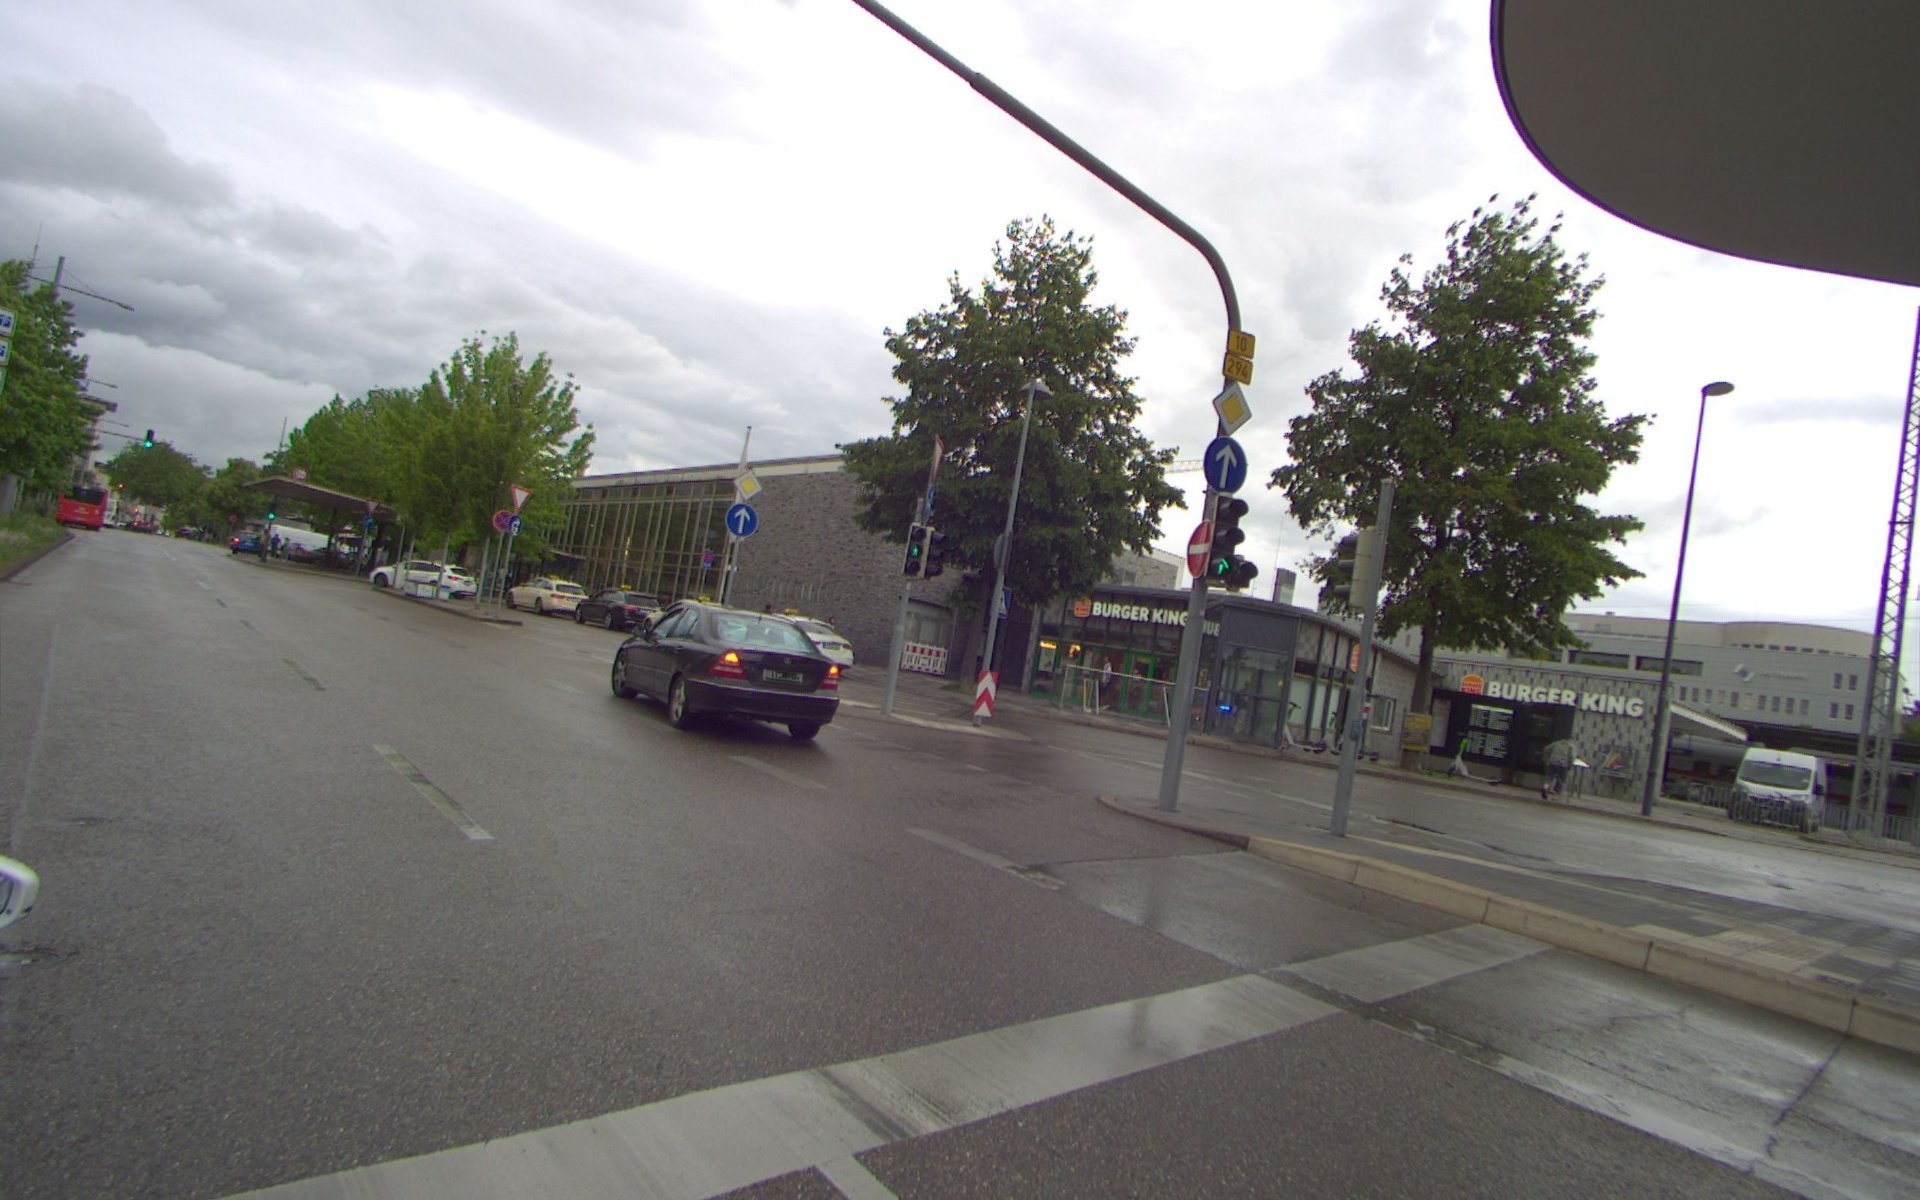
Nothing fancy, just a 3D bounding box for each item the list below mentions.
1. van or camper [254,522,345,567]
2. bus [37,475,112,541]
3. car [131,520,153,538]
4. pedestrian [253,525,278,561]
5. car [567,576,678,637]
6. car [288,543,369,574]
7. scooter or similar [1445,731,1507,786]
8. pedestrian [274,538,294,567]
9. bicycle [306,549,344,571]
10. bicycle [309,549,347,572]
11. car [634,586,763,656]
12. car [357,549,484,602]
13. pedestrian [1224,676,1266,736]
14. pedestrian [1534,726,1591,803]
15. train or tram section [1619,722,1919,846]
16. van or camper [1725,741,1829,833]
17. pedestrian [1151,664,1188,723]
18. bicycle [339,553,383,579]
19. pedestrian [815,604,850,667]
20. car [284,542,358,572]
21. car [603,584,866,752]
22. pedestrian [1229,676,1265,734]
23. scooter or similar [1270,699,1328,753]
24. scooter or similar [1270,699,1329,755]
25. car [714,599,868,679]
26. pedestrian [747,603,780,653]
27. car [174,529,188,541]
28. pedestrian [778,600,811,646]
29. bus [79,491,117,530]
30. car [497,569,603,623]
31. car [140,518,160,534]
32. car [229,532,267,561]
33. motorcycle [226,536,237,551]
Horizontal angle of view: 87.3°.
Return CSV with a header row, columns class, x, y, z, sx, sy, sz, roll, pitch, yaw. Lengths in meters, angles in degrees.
class,x,y,z,sx,sy,sz,roll,pitch,yaw
van or camper,-55.186,-4.586,84.188,2.159,2.794,5.969,7,-2,23
bus,-65.548,-6.712,74.532,3.534,4.025,11.042,9,-2,-41
car,-106.938,-9.250,131.500,1.986,2.037,3.957,9,-2,-39
pedestrian,-36.921,-3.022,53.471,0.825,1.766,0.746,6,-2,42
car,-12.468,0.212,36.936,1.989,1.617,4.901,11,-3,-41
car,-42.795,-2.789,68.267,1.809,1.339,4.198,7,-4,30
scooter or similar,13.272,4.067,25.892,1.279,1.196,0.334,7,-1,17
pedestrian,-46.413,-3.241,69.070,0.853,1.856,1.177,9,-3,-40
bicycle,-37.479,-2.346,59.379,0.413,1.068,1.831,7,-2,32
bicycle,-37.114,-2.307,59.110,0.413,1.068,1.831,7,-2,32
car,-8.464,0.627,32.234,1.986,1.618,4.904,9,-2,-39
car,-23.708,-1.073,44.281,4.686,1.563,1.767,8,-2,11
pedestrian,8.618,3.200,30.425,0.715,1.686,0.791,8,-1,-30
pedestrian,13.504,3.669,22.568,0.825,1.547,0.638,7,-1,20
train or tram section,50.511,10.481,50.418,4.574,4.230,28.986,9,-2,-40
van or camper,27.194,6.123,33.388,2.137,2.461,5.838,6,-2,43
pedestrian,6.291,2.800,30.236,0.764,1.688,0.645,6,0,28
bicycle,-31.492,-1.796,52.902,1.821,1.068,0.416,9,-2,-41
pedestrian,-4.685,1.294,36.937,0.710,2.189,0.797,7,-1,27
car,-45.080,-2.992,71.075,1.830,1.373,4.006,7,-3,20
car,-2.955,0.715,12.342,1.683,1.482,4.416,8,-2,-31
pedestrian,9.072,3.308,31.818,0.709,1.686,0.798,7,-1,-2
scooter or similar,8.722,3.234,25.932,1.279,1.196,0.334,7,-1,17
scooter or similar,8.543,3.187,25.358,1.279,1.196,0.334,7,-1,17
car,-4.753,1.019,27.695,1.873,1.618,4.850,9,-2,-39
pedestrian,-6.938,0.992,35.569,0.782,1.645,0.723,7,-1,6
car,-129.732,-10.826,167.520,1.589,1.578,3.610,9,-2,-39
pedestrian,-6.206,0.866,37.684,0.766,1.598,0.702,8,-1,-44
bus,-97.727,-10.049,113.982,2.796,3.791,10.324,7,-1,-42
car,-16.961,-0.176,41.497,4.891,1.618,1.991,6,-2,43
car,-115.794,-10.565,143.775,1.986,2.037,3.957,9,-2,-39
car,-48.009,-3.617,67.829,1.850,1.586,3.962,10,-4,-36
motorcycle,-68.567,-5.350,94.729,0.592,1.303,1.936,9,-2,-34
